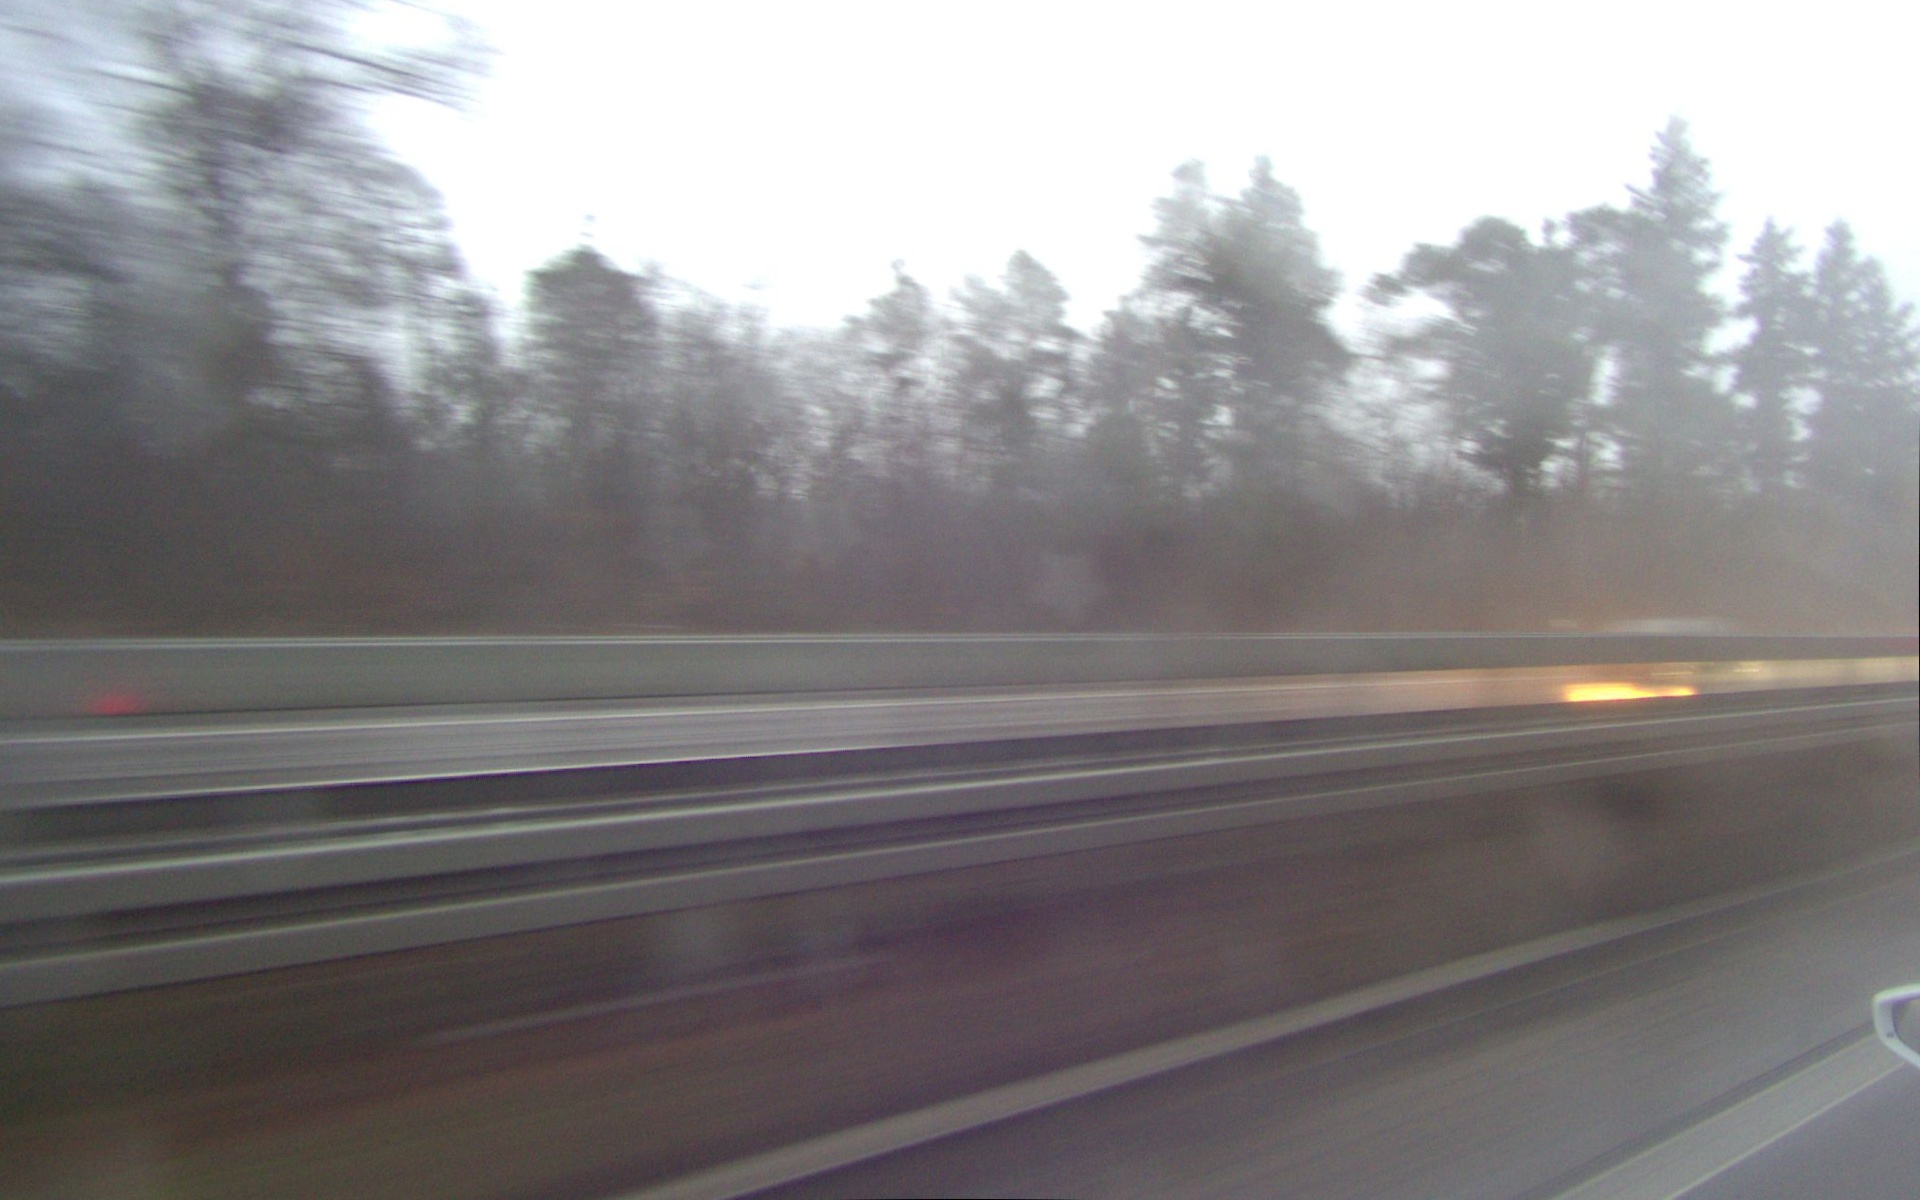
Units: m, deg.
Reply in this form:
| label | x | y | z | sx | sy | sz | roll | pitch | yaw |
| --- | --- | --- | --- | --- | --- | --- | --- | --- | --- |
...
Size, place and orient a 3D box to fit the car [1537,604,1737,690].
| label | x | y | z | sx | sy | sz | roll | pitch | yaw |
| --- | --- | --- | --- | --- | --- | --- | --- | --- | --- |
| car | 14.842 | 1.039 | 21.988 | 4.226 | 1.595 | 1.983 | 3 | 2 | -32 |
